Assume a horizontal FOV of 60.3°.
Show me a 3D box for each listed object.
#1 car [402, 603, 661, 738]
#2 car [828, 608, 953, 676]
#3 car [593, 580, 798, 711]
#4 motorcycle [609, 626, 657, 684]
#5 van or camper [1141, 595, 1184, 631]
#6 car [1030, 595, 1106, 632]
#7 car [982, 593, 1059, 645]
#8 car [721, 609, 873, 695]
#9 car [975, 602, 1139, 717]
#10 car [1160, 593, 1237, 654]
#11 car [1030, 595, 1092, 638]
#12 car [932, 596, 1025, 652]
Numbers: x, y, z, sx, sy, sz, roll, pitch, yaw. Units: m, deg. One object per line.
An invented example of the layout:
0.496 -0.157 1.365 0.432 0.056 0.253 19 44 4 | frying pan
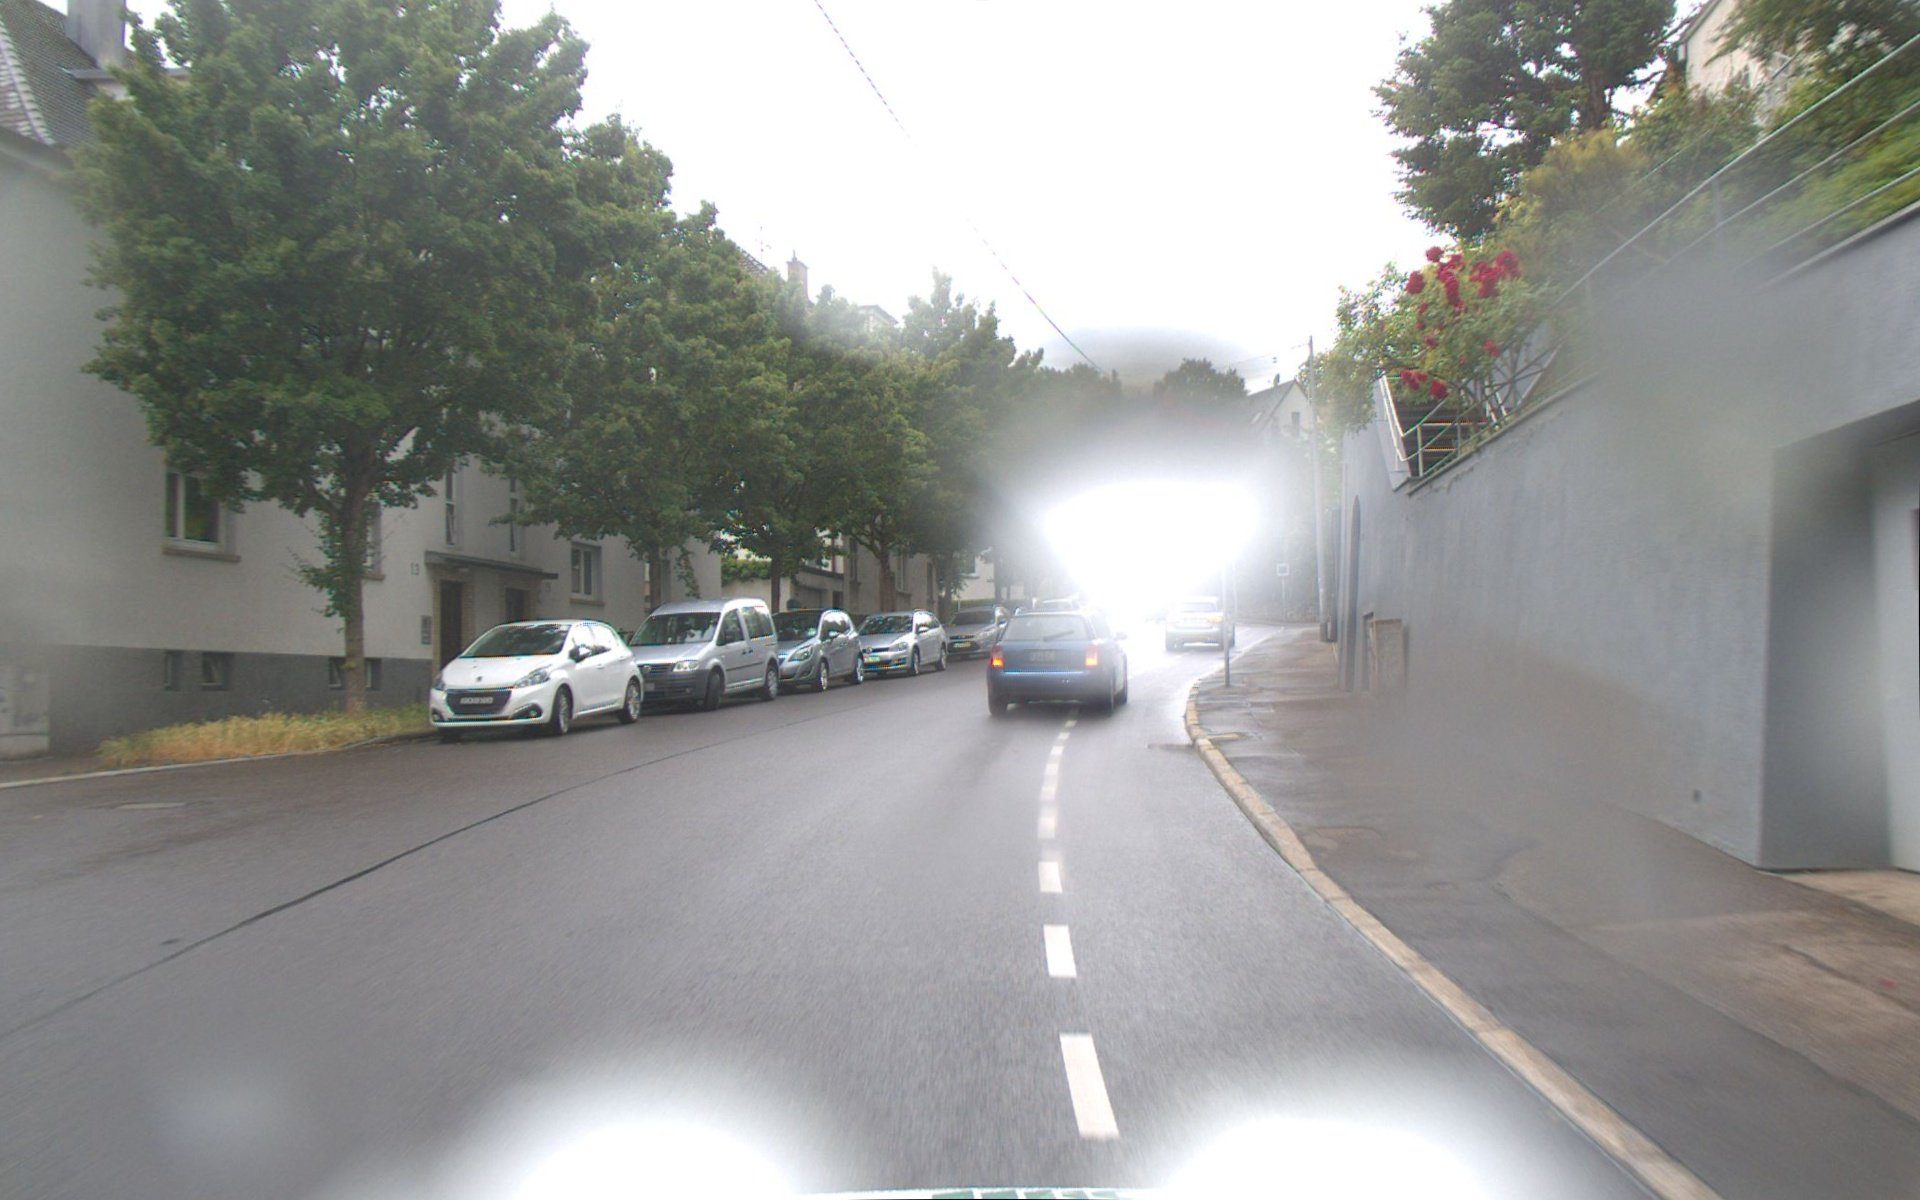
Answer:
-5.633 0.923 22.352 1.746 1.541 4.349 -4 -2 9 | car
-1.532 0.962 38.345 1.766 1.479 4.600 0 -1 12 | car
-4.370 0.756 28.128 1.873 2.036 4.551 0 -1 13 | car
-6.687 1.116 33.890 0.402 1.118 1.622 -2 0 9 | motorcycle
12.068 0.804 98.884 1.953 2.049 3.998 0 -2 -2 | van or camper
4.351 0.570 67.194 1.959 1.415 4.183 -1 -1 -13 | car
2.058 0.635 55.156 1.766 1.655 4.142 -1 0 13 | car
-3.179 1.015 33.131 1.766 1.511 4.239 -4 -2 12 | car
1.487 0.788 23.696 1.814 1.438 4.365 -1 0 10 | car
6.964 0.644 47.976 1.908 1.588 4.267 2 1 12 | car
3.845 0.590 62.446 1.676 1.488 3.884 0 1 14 | car
0.615 0.719 49.001 1.766 1.579 4.803 0 -1 13 | car
